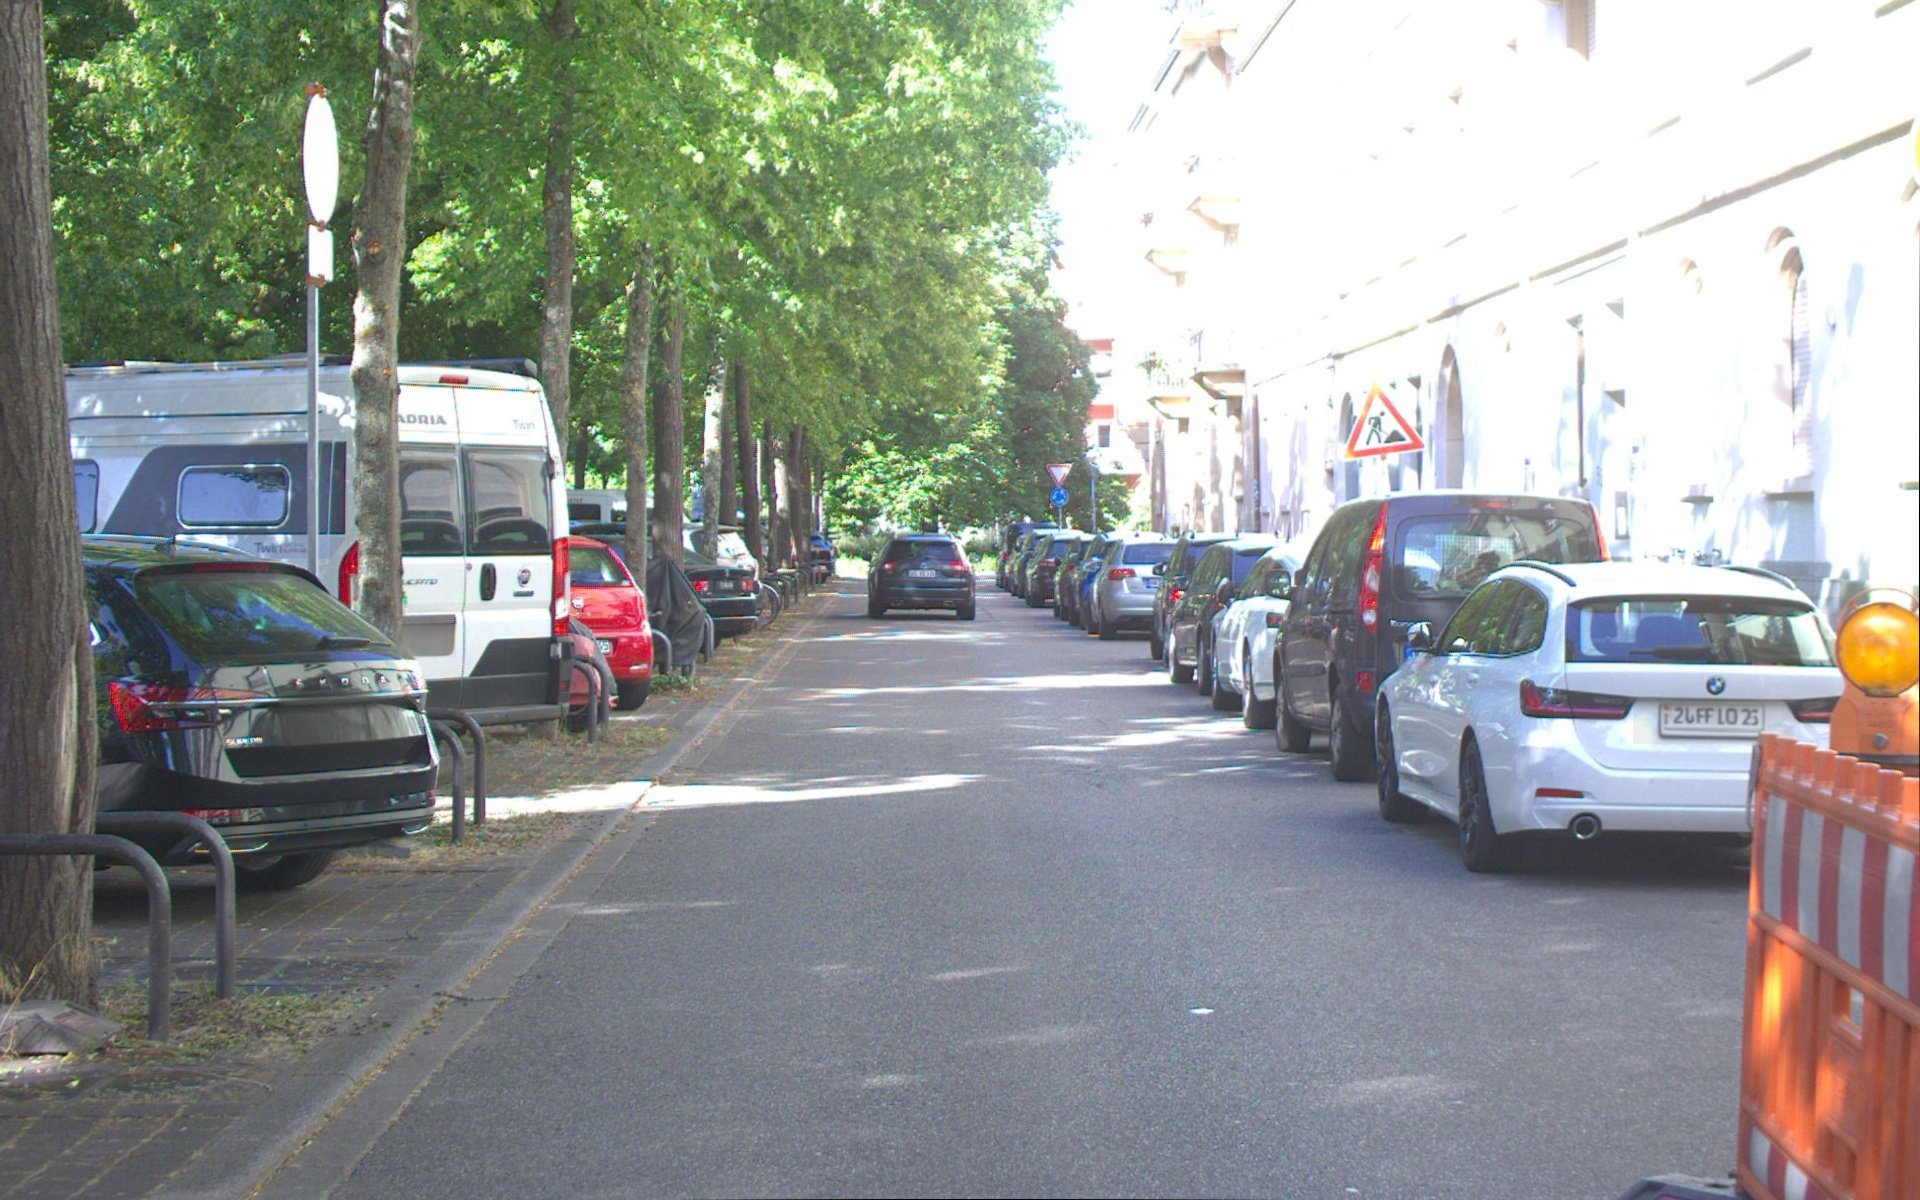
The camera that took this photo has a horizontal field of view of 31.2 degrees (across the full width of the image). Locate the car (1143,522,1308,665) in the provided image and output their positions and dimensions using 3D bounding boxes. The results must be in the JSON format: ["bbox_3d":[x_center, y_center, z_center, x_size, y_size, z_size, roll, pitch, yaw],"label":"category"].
[{"bbox_3d":[2.969,-0.115,39.093,1.580,1.545,4.042,0,1,0],"label":"car"}]

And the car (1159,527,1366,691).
[{"bbox_3d":[2.912,0.040,33.772,1.599,1.487,3.967,-1,1,-1],"label":"car"}]

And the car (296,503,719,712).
[{"bbox_3d":[-3.875,0.041,29.001,1.659,1.612,3.879,-2,2,-40],"label":"car"}]

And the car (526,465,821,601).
[{"bbox_3d":[-6.487,-1.489,78.023,6.069,2.614,2.453,-4,-1,15],"label":"car"}]

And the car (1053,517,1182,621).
[{"bbox_3d":[2.436,-0.511,54.139,1.767,1.546,4.184,-1,1,-1],"label":"car"}]

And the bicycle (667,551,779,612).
[{"bbox_3d":[-3.954,-0.310,57.418,1.812,0.990,0.425,0,1,15],"label":"bicycle"}]

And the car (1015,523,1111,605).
[{"bbox_3d":[2.038,-0.748,69.259,1.805,1.558,4.321,-1,1,1],"label":"car"}]

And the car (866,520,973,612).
[{"bbox_3d":[-0.669,-0.614,59.499,1.714,1.478,4.145,-1,1,1],"label":"car"}]

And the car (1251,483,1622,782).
[{"bbox_3d":[3.067,0.152,22.898,1.771,1.787,3.990,-1,1,-2],"label":"car"}]

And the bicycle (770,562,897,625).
[{"bbox_3d":[-1.904,-0.101,51.703,1.900,0.916,0.379,1,1,19],"label":"bicycle"}]

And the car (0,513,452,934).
[{"bbox_3d":[-4.270,0.494,14.175,4.093,1.520,1.699,-2,0,30],"label":"car"}]

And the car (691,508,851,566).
[{"bbox_3d":[-5.101,-1.690,92.440,4.087,1.461,1.867,1,0,-10],"label":"car"}]

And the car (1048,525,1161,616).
[{"bbox_3d":[2.427,-0.528,58.621,1.692,1.463,4.005,1,1,-1],"label":"car"}]

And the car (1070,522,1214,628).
[{"bbox_3d":[2.569,-0.389,49.438,1.769,1.426,4.291,-1,1,-1],"label":"car"}]

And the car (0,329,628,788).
[{"bbox_3d":[-5.338,-0.281,21.733,6.319,2.550,2.334,1,1,32],"label":"car"}]

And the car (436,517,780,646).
[{"bbox_3d":[-4.281,-0.216,41.556,4.015,1.469,1.623,0,2,35],"label":"car"}]

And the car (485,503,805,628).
[{"bbox_3d":[-4.404,-0.498,48.016,4.082,1.647,1.860,1,1,26],"label":"car"}]

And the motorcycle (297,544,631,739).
[{"bbox_3d":[-3.591,0.281,24.868,2.318,1.330,0.969,-1,1,-10],"label":"motorcycle"}]

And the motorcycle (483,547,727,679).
[{"bbox_3d":[-3.351,0.111,32.562,2.148,1.225,0.881,0,1,8],"label":"motorcycle"}]

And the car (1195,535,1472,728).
[{"bbox_3d":[2.964,0.196,28.143,1.607,1.415,4.569,-1,1,-2],"label":"car"}]

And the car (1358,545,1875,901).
[{"bbox_3d":[3.120,0.503,17.178,1.704,1.506,4.284,-1,1,-1],"label":"car"}]
